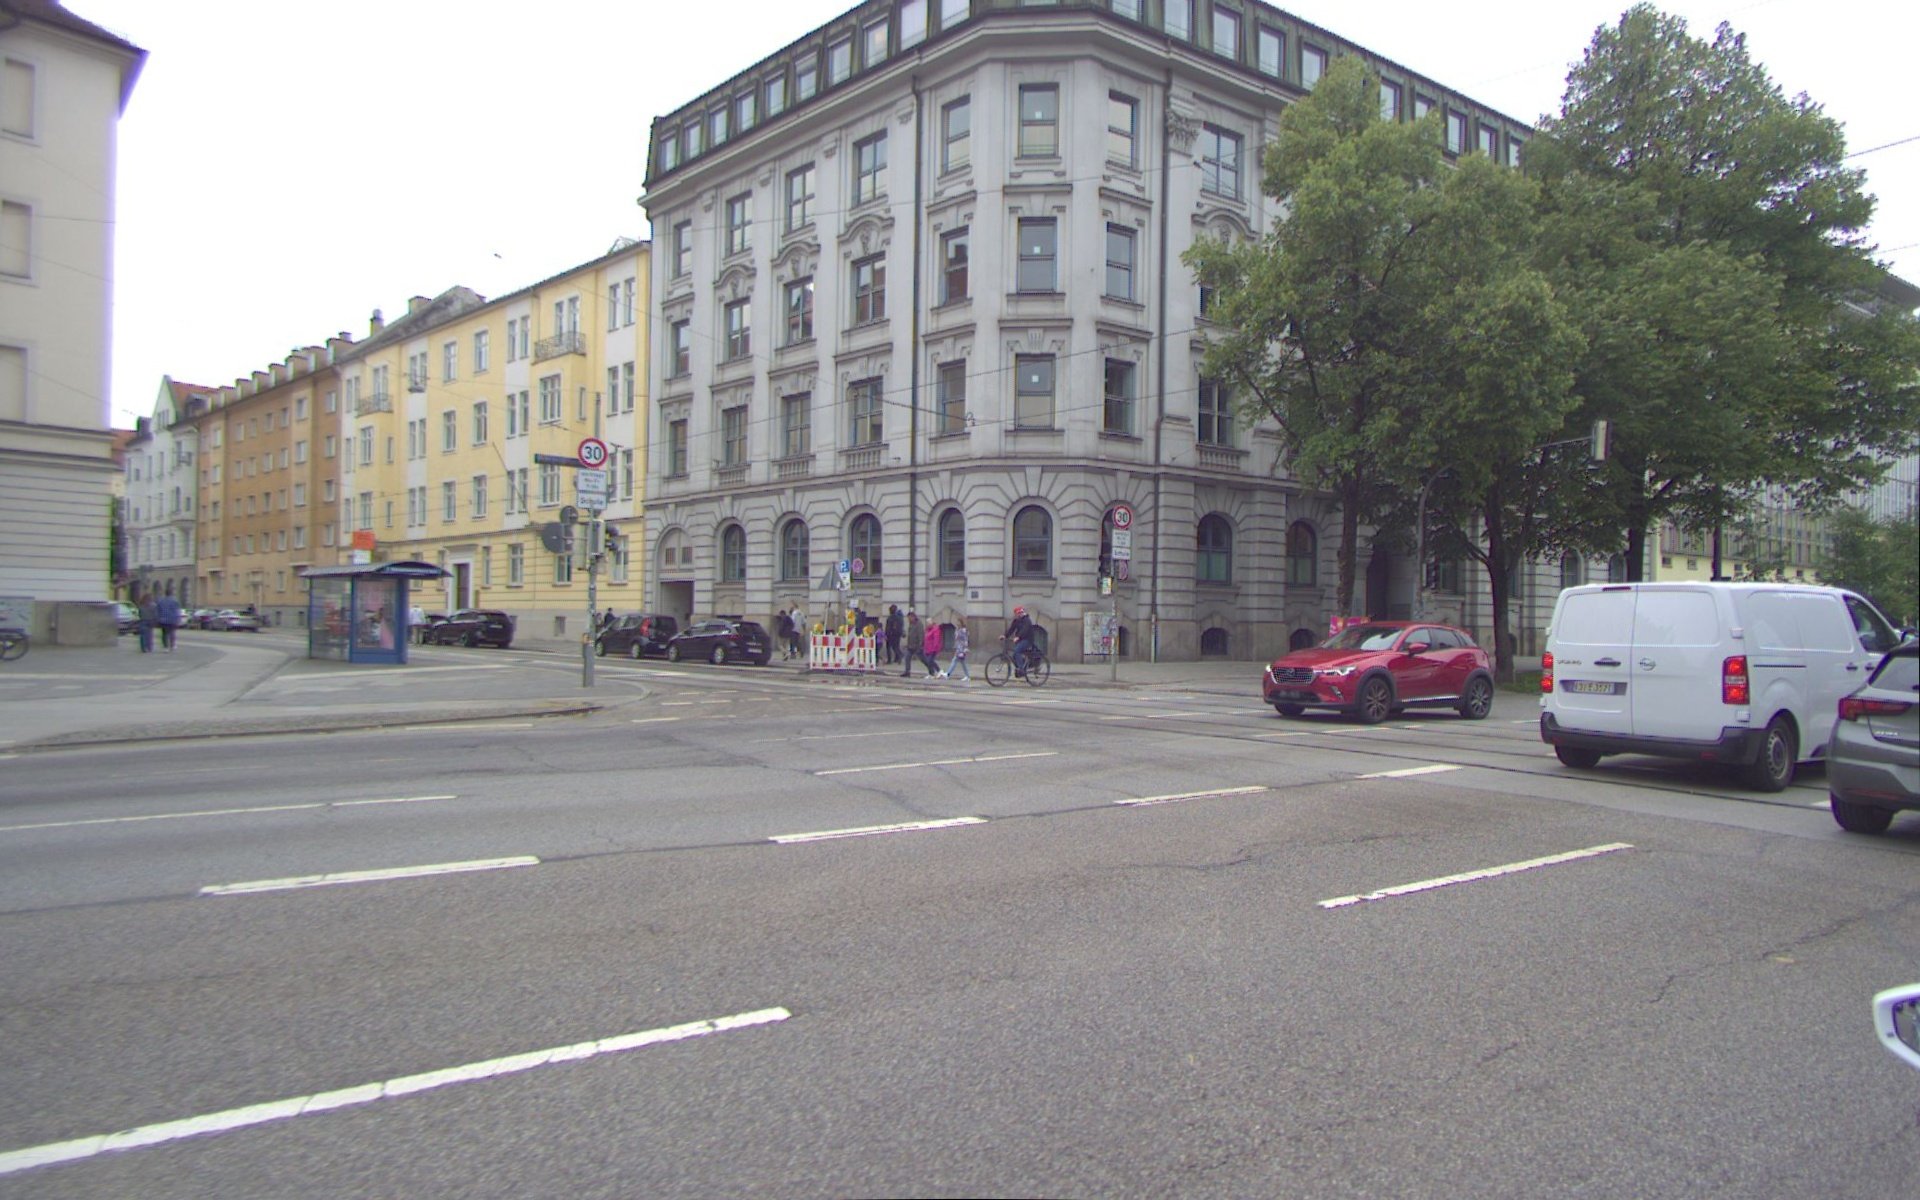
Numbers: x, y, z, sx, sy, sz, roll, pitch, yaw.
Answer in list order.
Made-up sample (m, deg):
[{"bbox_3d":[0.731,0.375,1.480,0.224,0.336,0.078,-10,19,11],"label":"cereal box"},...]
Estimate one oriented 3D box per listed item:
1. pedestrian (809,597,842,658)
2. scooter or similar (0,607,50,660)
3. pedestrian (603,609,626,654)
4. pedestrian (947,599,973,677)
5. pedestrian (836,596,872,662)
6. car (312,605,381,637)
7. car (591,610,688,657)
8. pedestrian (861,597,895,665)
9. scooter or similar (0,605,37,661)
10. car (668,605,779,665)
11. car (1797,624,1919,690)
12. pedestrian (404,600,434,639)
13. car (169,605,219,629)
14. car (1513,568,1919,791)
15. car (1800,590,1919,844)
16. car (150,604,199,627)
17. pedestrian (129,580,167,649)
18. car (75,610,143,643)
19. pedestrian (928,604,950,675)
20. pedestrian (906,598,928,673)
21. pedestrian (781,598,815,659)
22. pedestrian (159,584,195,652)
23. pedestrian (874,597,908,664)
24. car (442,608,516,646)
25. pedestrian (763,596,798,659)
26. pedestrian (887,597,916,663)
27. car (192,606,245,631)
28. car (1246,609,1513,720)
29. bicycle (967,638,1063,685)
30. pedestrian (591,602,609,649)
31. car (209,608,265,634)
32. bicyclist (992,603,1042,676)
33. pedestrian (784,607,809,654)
[{"bbox_3d":[-4.640,0.946,34.588,0.768,2.040,0.799,2,1,39],"label":"pedestrian"},{"bbox_3d":[-21.141,0.733,22.116,1.528,1.134,0.542,1,0,-30],"label":"scooter or similar"},{"bbox_3d":[-14.372,1.305,41.761,0.671,1.879,0.625,0,-1,41],"label":"pedestrian"},{"bbox_3d":[0.007,0.931,24.524,0.518,1.879,0.502,1,-1,-12],"label":"pedestrian"},{"bbox_3d":[-3.364,0.904,31.898,0.768,2.040,0.799,2,1,39],"label":"pedestrian"},{"bbox_3d":[-32.428,1.113,53.111,3.664,1.617,1.992,-1,-1,39],"label":"car"},{"bbox_3d":[-11.245,1.145,35.120,3.521,1.538,1.685,-1,-1,42],"label":"car"},{"bbox_3d":[-2.486,0.928,30.609,0.768,2.040,0.640,2,1,39],"label":"pedestrian"},{"bbox_3d":[-20.932,0.694,21.305,1.879,1.173,0.685,1,0,-30],"label":"scooter or similar"},{"bbox_3d":[-7.421,1.064,31.429,3.521,1.753,1.685,-1,-1,42],"label":"car"},{"bbox_3d":[24.023,1.459,26.577,3.955,1.617,1.735,1,-3,-32],"label":"car"},{"bbox_3d":[-22.600,0.824,41.983,0.865,1.597,0.859,0,-1,41],"label":"pedestrian"},{"bbox_3d":[-53.815,1.189,70.533,3.664,1.617,1.992,-1,-1,39],"label":"car"},{"bbox_3d":[8.112,0.734,10.510,4.899,1.872,1.889,2,-1,-31],"label":"car"},{"bbox_3d":[7.784,0.767,7.033,3.954,1.573,1.701,1,0,-31],"label":"car"},{"bbox_3d":[-57.243,1.118,73.192,3.664,1.617,1.992,-1,-1,39],"label":"car"},{"bbox_3d":[-22.558,0.397,27.918,0.652,1.877,0.802,1,1,-29],"label":"pedestrian"},{"bbox_3d":[-43.466,1.325,51.275,3.664,1.617,1.992,-1,-1,39],"label":"car"},{"bbox_3d":[-0.536,0.989,25.276,0.461,1.762,0.502,1,-1,-11],"label":"pedestrian"},{"bbox_3d":[-1.113,0.908,25.688,0.461,1.879,0.502,1,-1,-11],"label":"pedestrian"},{"bbox_3d":[-5.486,0.960,34.094,0.768,2.040,0.799,2,1,39],"label":"pedestrian"},{"bbox_3d":[-21.945,0.485,28.172,0.652,1.877,0.802,1,1,-29],"label":"pedestrian"},{"bbox_3d":[-2.145,0.934,31.217,0.768,2.040,0.664,2,1,39],"label":"pedestrian"},{"bbox_3d":[-20.727,1.148,43.242,3.521,1.597,1.685,-1,-1,42],"label":"car"},{"bbox_3d":[-5.983,0.901,33.431,0.768,2.040,0.799,2,1,39],"label":"pedestrian"},{"bbox_3d":[-1.852,0.939,31.903,0.570,2.040,0.664,2,1,39],"label":"pedestrian"},{"bbox_3d":[-49.400,1.263,66.889,3.664,1.617,1.992,-1,-1,39],"label":"car"},{"bbox_3d":[6.683,0.958,15.916,4.177,1.550,1.745,1,-1,-30],"label":"car"},{"bbox_3d":[1.248,1.365,22.612,2.155,1.001,0.658,1,0,-30],"label":"bicycle"},{"bbox_3d":[-14.795,1.046,41.293,0.463,1.879,0.500,0,-1,43],"label":"pedestrian"},{"bbox_3d":[-46.146,1.344,64.070,3.664,1.617,1.992,-1,-1,39],"label":"car"},{"bbox_3d":[1.272,0.875,22.599,0.881,1.599,0.657,1,1,-30],"label":"bicyclist"},{"bbox_3d":[-5.765,1.065,35.465,0.568,1.617,0.645,2,1,39],"label":"pedestrian"}]
